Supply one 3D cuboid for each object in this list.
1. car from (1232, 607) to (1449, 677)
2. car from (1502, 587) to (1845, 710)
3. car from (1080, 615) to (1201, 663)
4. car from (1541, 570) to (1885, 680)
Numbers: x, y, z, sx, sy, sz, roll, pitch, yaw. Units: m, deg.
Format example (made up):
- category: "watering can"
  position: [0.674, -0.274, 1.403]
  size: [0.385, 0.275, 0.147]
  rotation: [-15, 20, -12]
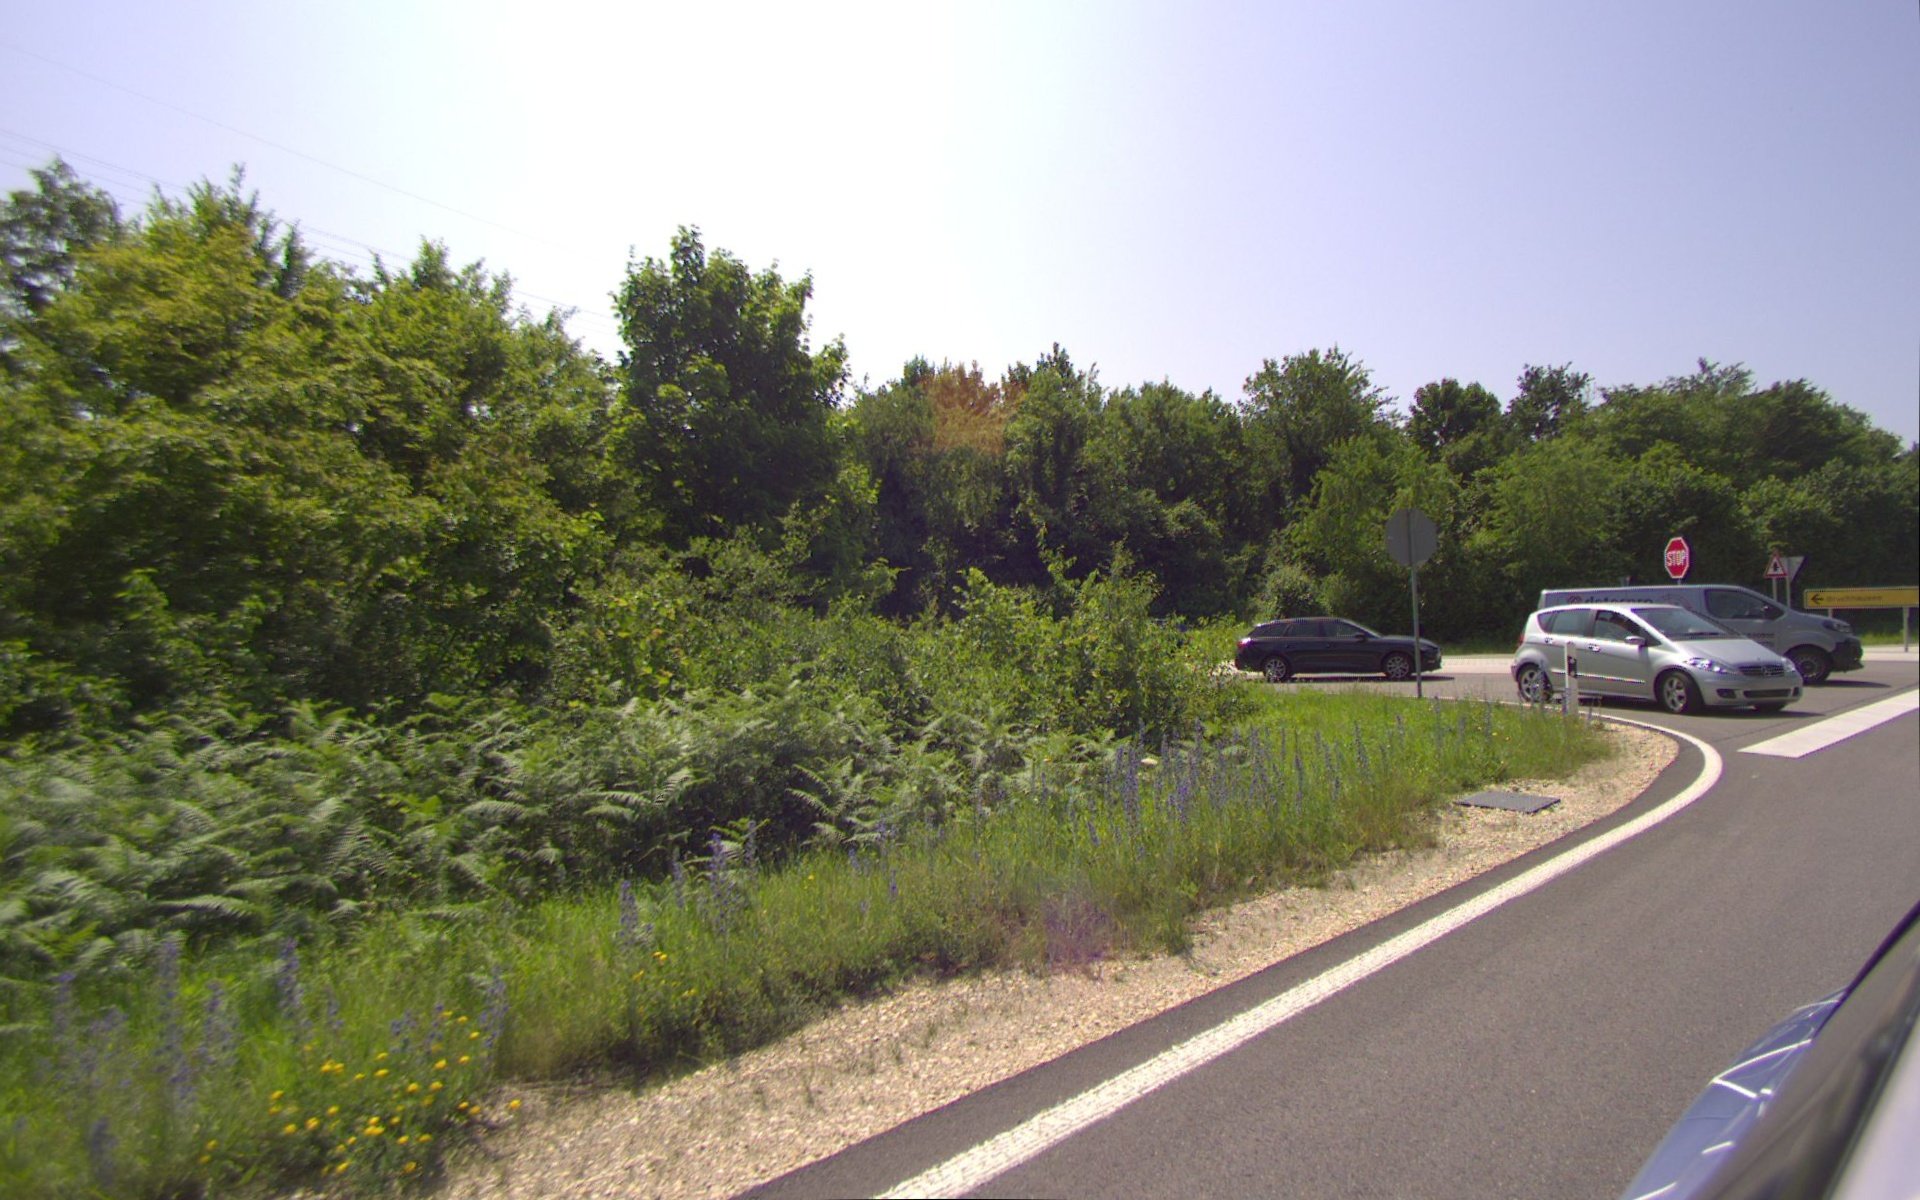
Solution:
- category: "car"
  position: [8.868, 0.987, 23.646]
  size: [4.520, 1.493, 1.850]
  rotation: [-2, -1, 28]
- category: "car"
  position: [10.496, 0.698, 15.312]
  size: [1.807, 1.600, 4.000]
  rotation: [0, -2, -13]
- category: "car"
  position: [5.974, 1.316, 33.952]
  size: [3.878, 1.561, 1.805]
  rotation: [-1, -2, 8]
- category: "car"
  position: [14.512, 0.459, 19.960]
  size: [5.191, 1.931, 1.990]
  rotation: [-1, 0, 33]
